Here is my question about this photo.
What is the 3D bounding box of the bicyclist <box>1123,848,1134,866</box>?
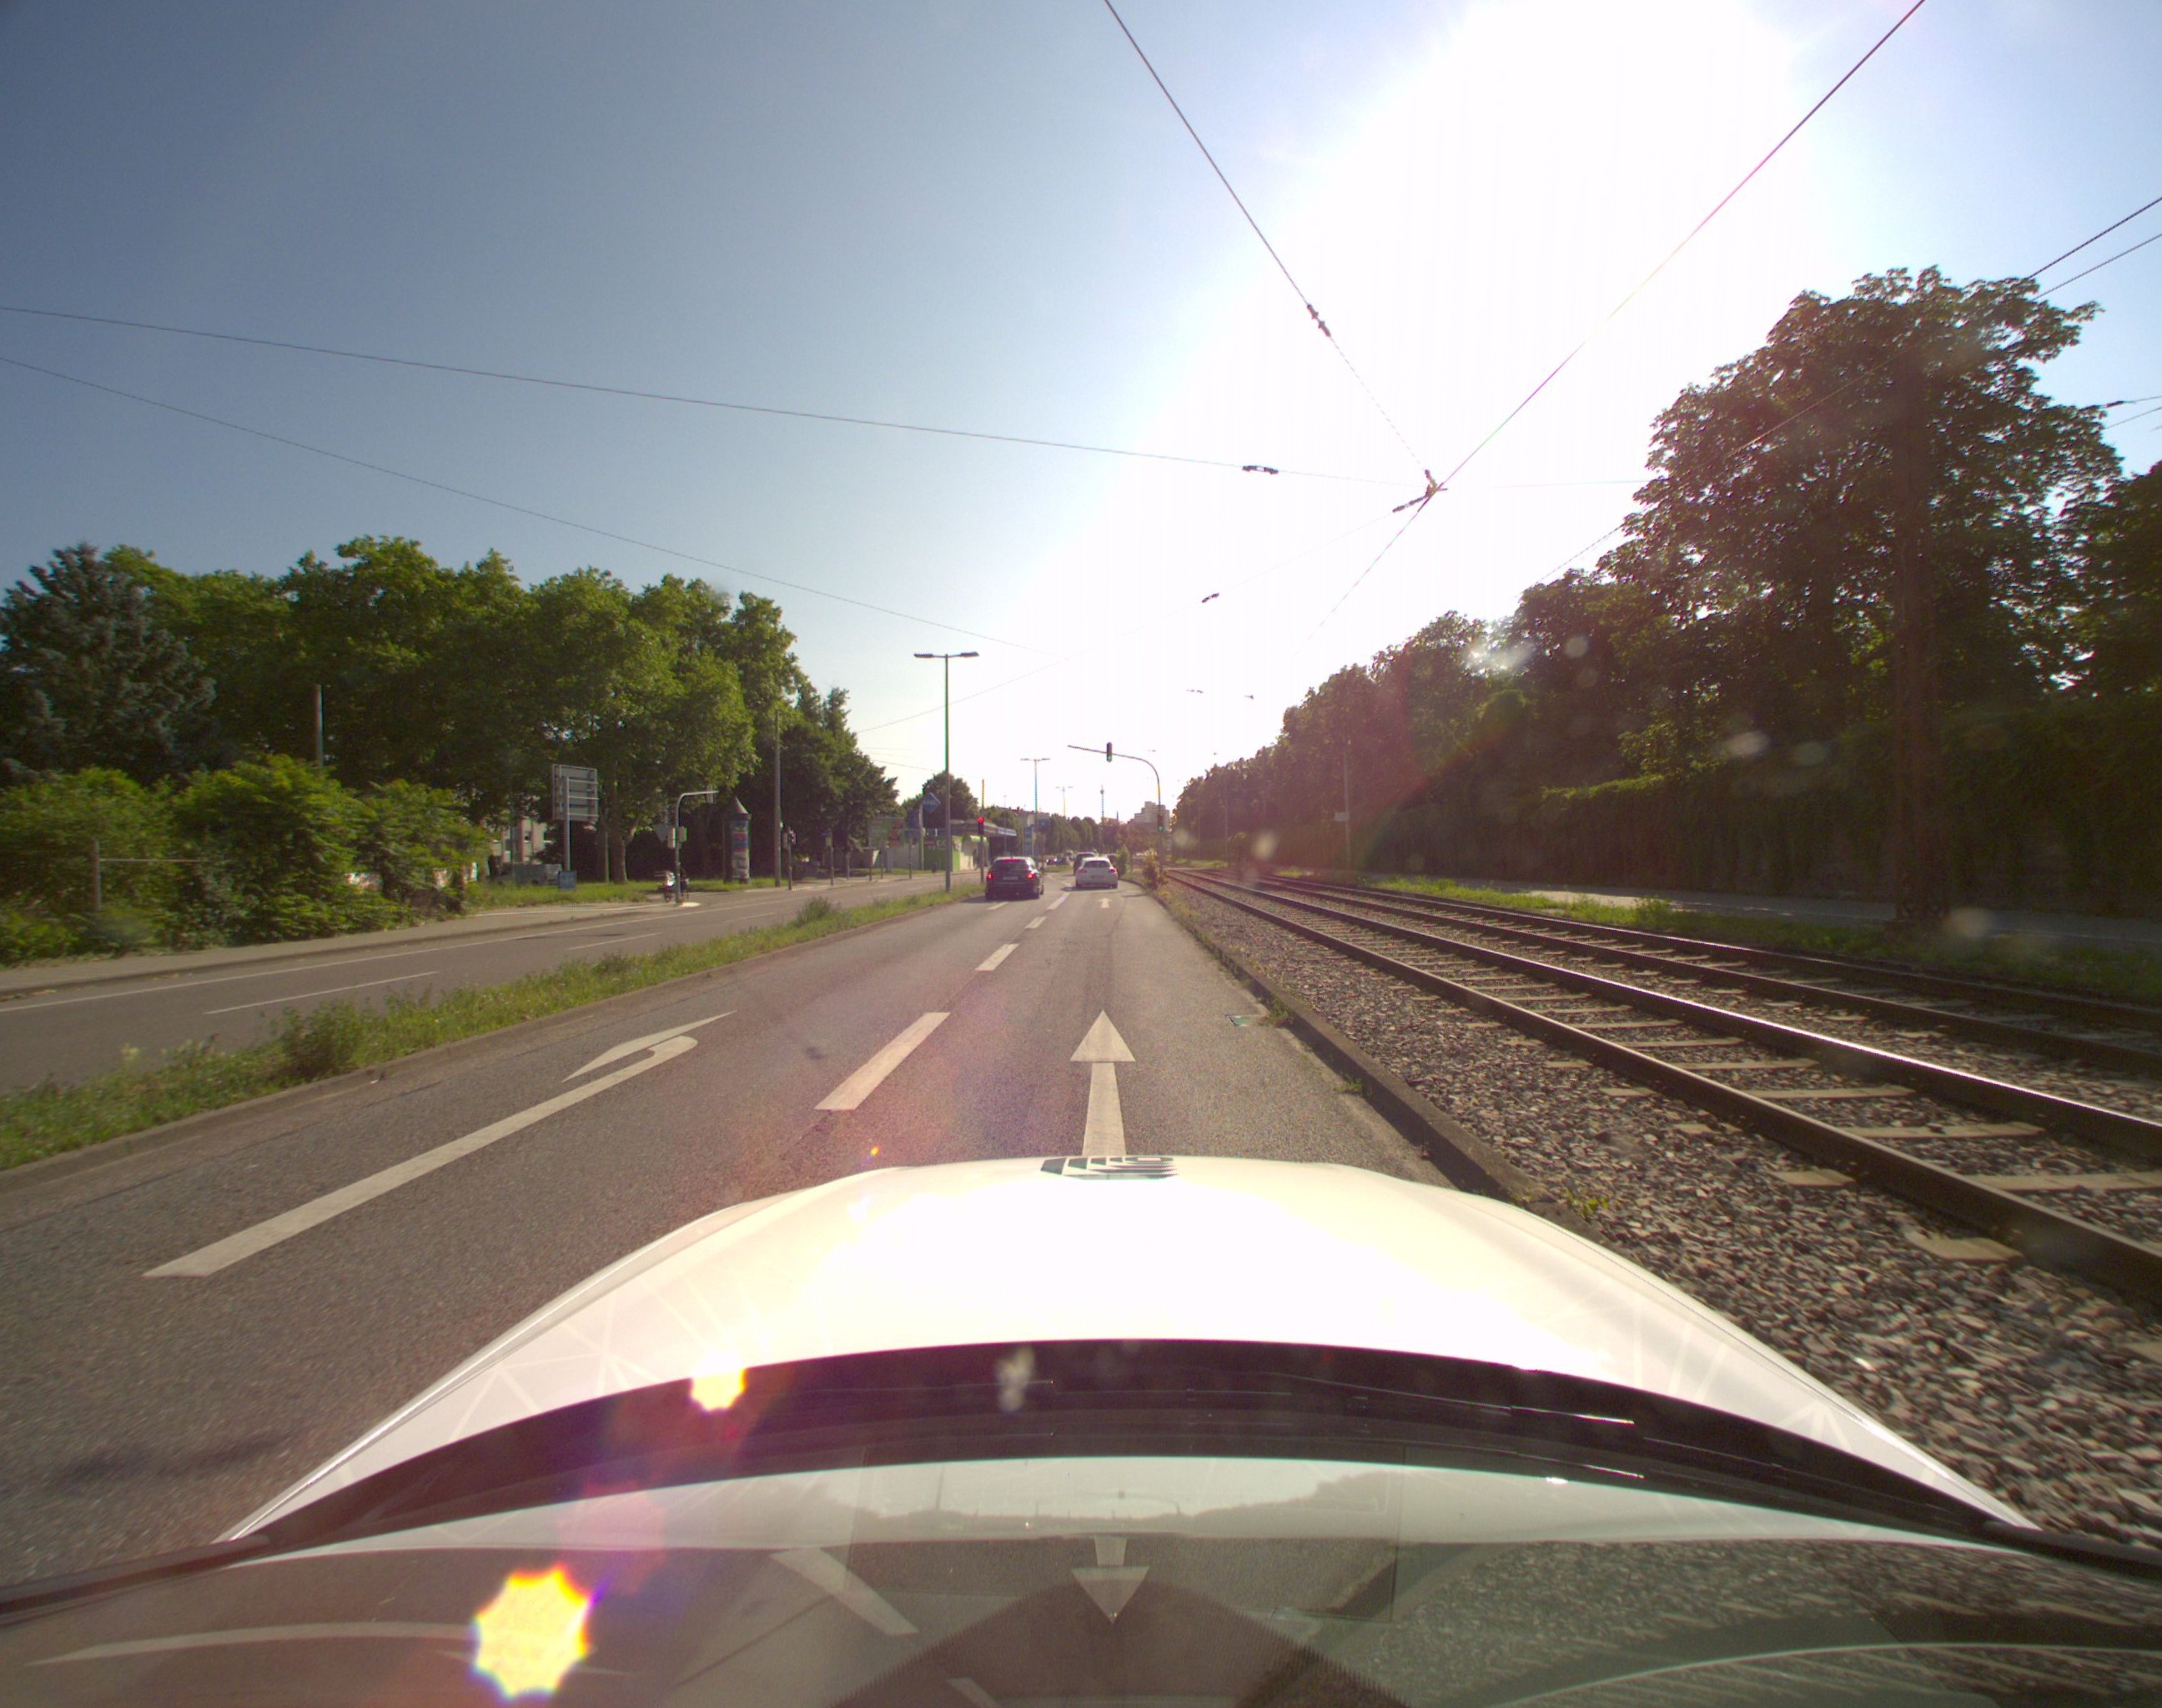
[{"bbox_3d":[3.681,0.239,63.256,0.638,1.416,1.017,-1,0,17],"label":"bicyclist"}]

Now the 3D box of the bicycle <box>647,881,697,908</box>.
[{"bbox_3d":[-18.055,1.761,36.043,0.658,1.049,2.584,-2,0,6],"label":"bicycle"}]

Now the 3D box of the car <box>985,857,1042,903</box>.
[{"bbox_3d":[-2.352,0.874,29.447,1.755,1.485,4.642,0,0,-1],"label":"car"}]

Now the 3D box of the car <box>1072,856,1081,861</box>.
[{"bbox_3d":[-1.137,1.221,220.069,1.984,1.416,3.849,-2,0,5],"label":"car"}]

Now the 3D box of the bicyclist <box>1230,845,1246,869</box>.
[{"bbox_3d":[13.039,0.230,67.806,1.023,1.993,0.953,-2,0,26],"label":"bicyclist"}]

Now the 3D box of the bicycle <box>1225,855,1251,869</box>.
[{"bbox_3d":[13.097,0.656,67.800,1.903,1.115,0.953,-2,0,26],"label":"bicycle"}]

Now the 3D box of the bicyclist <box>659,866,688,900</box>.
[{"bbox_3d":[-18.068,1.279,36.137,0.658,1.452,1.052,-2,0,5],"label":"bicyclist"}]

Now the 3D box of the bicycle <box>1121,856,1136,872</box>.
[{"bbox_3d":[3.676,0.777,63.182,0.638,1.154,1.946,-2,1,18],"label":"bicycle"}]

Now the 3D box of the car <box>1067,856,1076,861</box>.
[{"bbox_3d":[-2.347,1.137,208.731,1.984,1.416,3.849,-2,0,5],"label":"car"}]

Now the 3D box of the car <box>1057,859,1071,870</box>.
[{"bbox_3d":[-2.330,1.383,112.236,1.646,1.395,4.136,-2,0,2],"label":"car"}]

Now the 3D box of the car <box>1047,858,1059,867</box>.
[{"bbox_3d":[-4.386,1.325,127.029,1.567,1.417,3.336,-2,0,3],"label":"car"}]

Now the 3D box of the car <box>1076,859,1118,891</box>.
[{"bbox_3d":[0.767,0.917,36.876,1.774,1.356,3.603,0,0,2],"label":"car"}]

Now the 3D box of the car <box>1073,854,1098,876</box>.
[{"bbox_3d":[0.290,0.812,60.412,1.719,1.593,3.599,0,0,-2],"label":"car"}]

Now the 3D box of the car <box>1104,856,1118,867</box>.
[{"bbox_3d":[3.995,0.969,106.720,1.741,1.486,3.605,0,0,4],"label":"car"}]

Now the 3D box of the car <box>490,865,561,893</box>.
[{"bbox_3d":[-42.371,1.903,62.128,4.363,1.963,1.828,-2,0,8],"label":"car"}]
